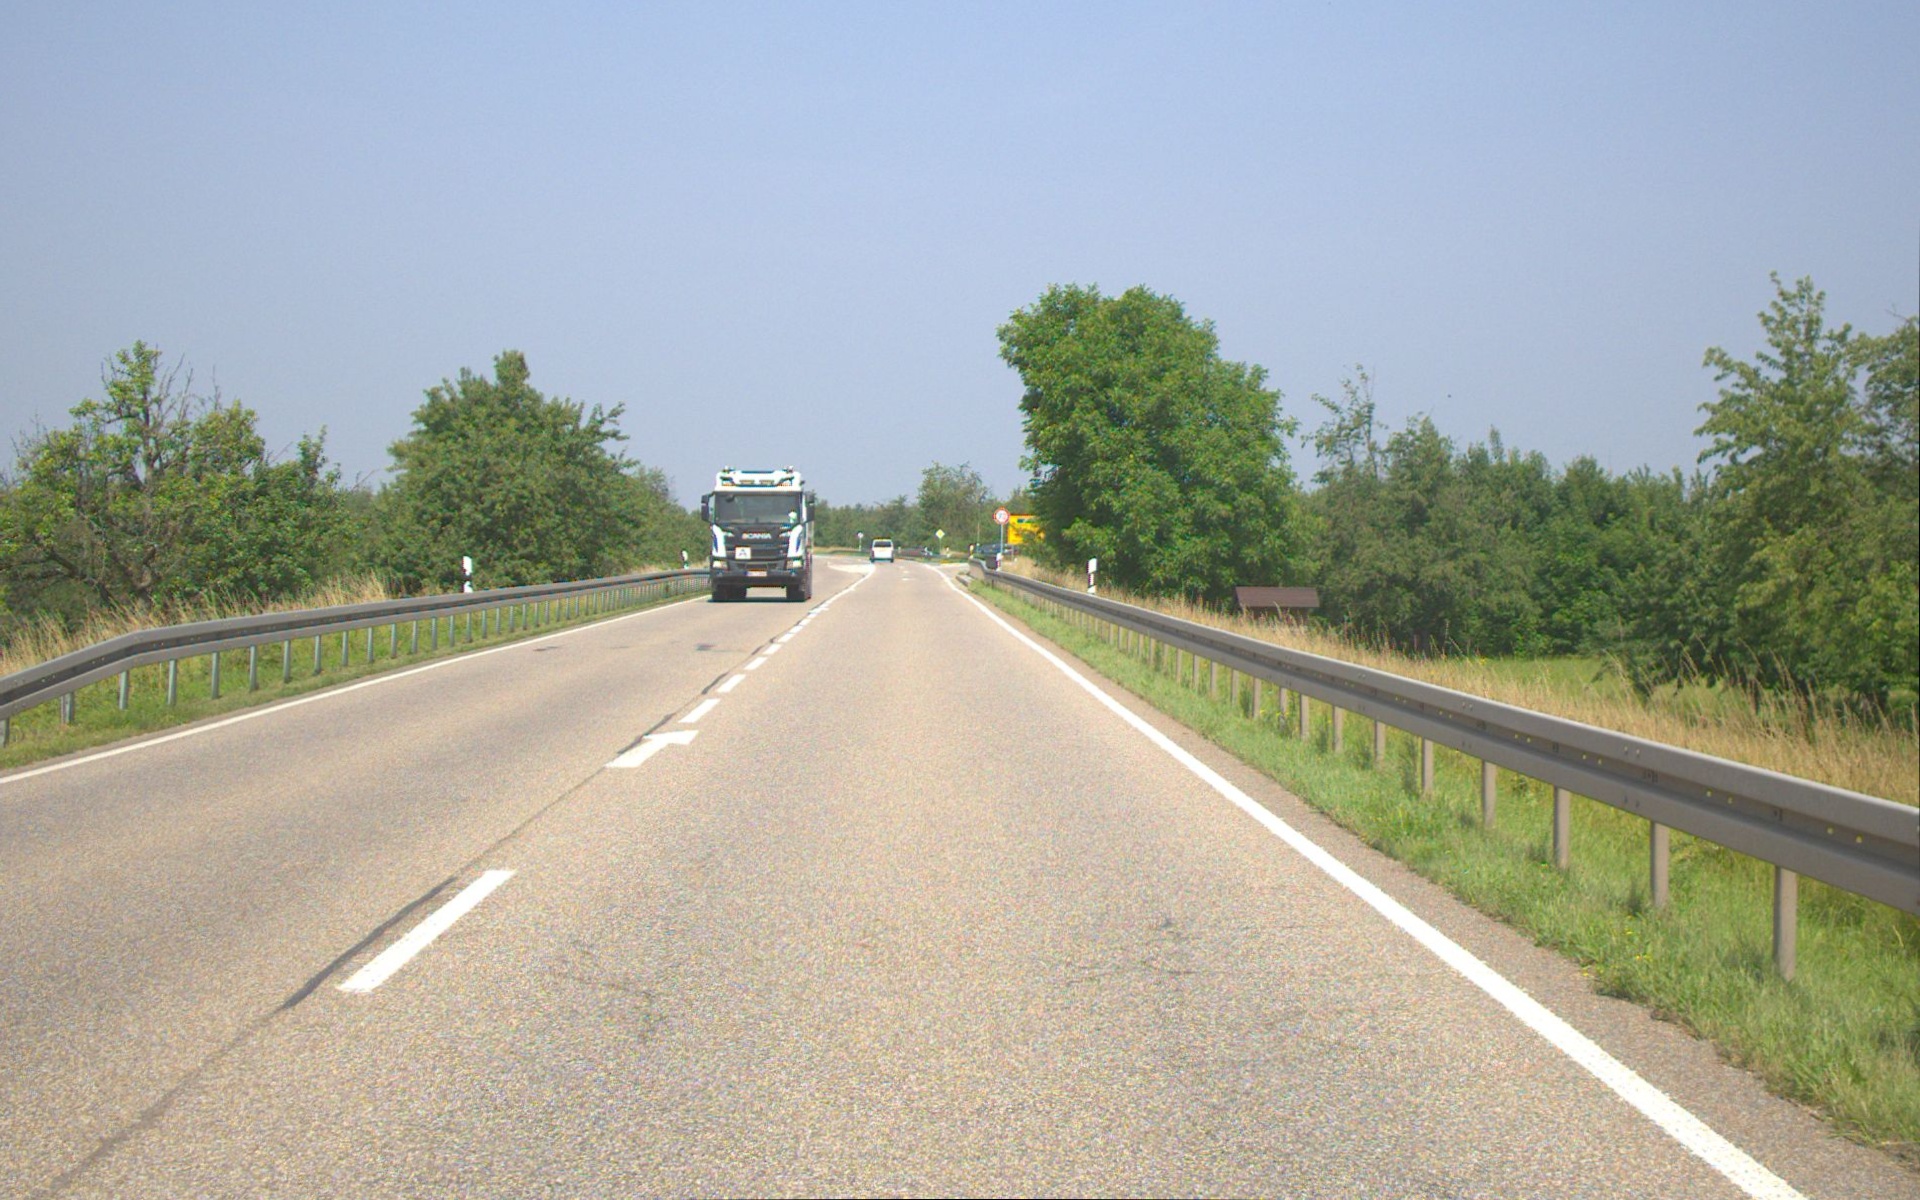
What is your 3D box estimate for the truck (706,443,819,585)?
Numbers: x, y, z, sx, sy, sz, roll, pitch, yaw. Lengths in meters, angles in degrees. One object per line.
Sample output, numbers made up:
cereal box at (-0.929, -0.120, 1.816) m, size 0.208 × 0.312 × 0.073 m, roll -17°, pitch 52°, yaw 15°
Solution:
truck at (-5.319, -2.280, 94.008) m, size 2.728 × 3.659 × 9.384 m, roll 0°, pitch 1°, yaw -1°
